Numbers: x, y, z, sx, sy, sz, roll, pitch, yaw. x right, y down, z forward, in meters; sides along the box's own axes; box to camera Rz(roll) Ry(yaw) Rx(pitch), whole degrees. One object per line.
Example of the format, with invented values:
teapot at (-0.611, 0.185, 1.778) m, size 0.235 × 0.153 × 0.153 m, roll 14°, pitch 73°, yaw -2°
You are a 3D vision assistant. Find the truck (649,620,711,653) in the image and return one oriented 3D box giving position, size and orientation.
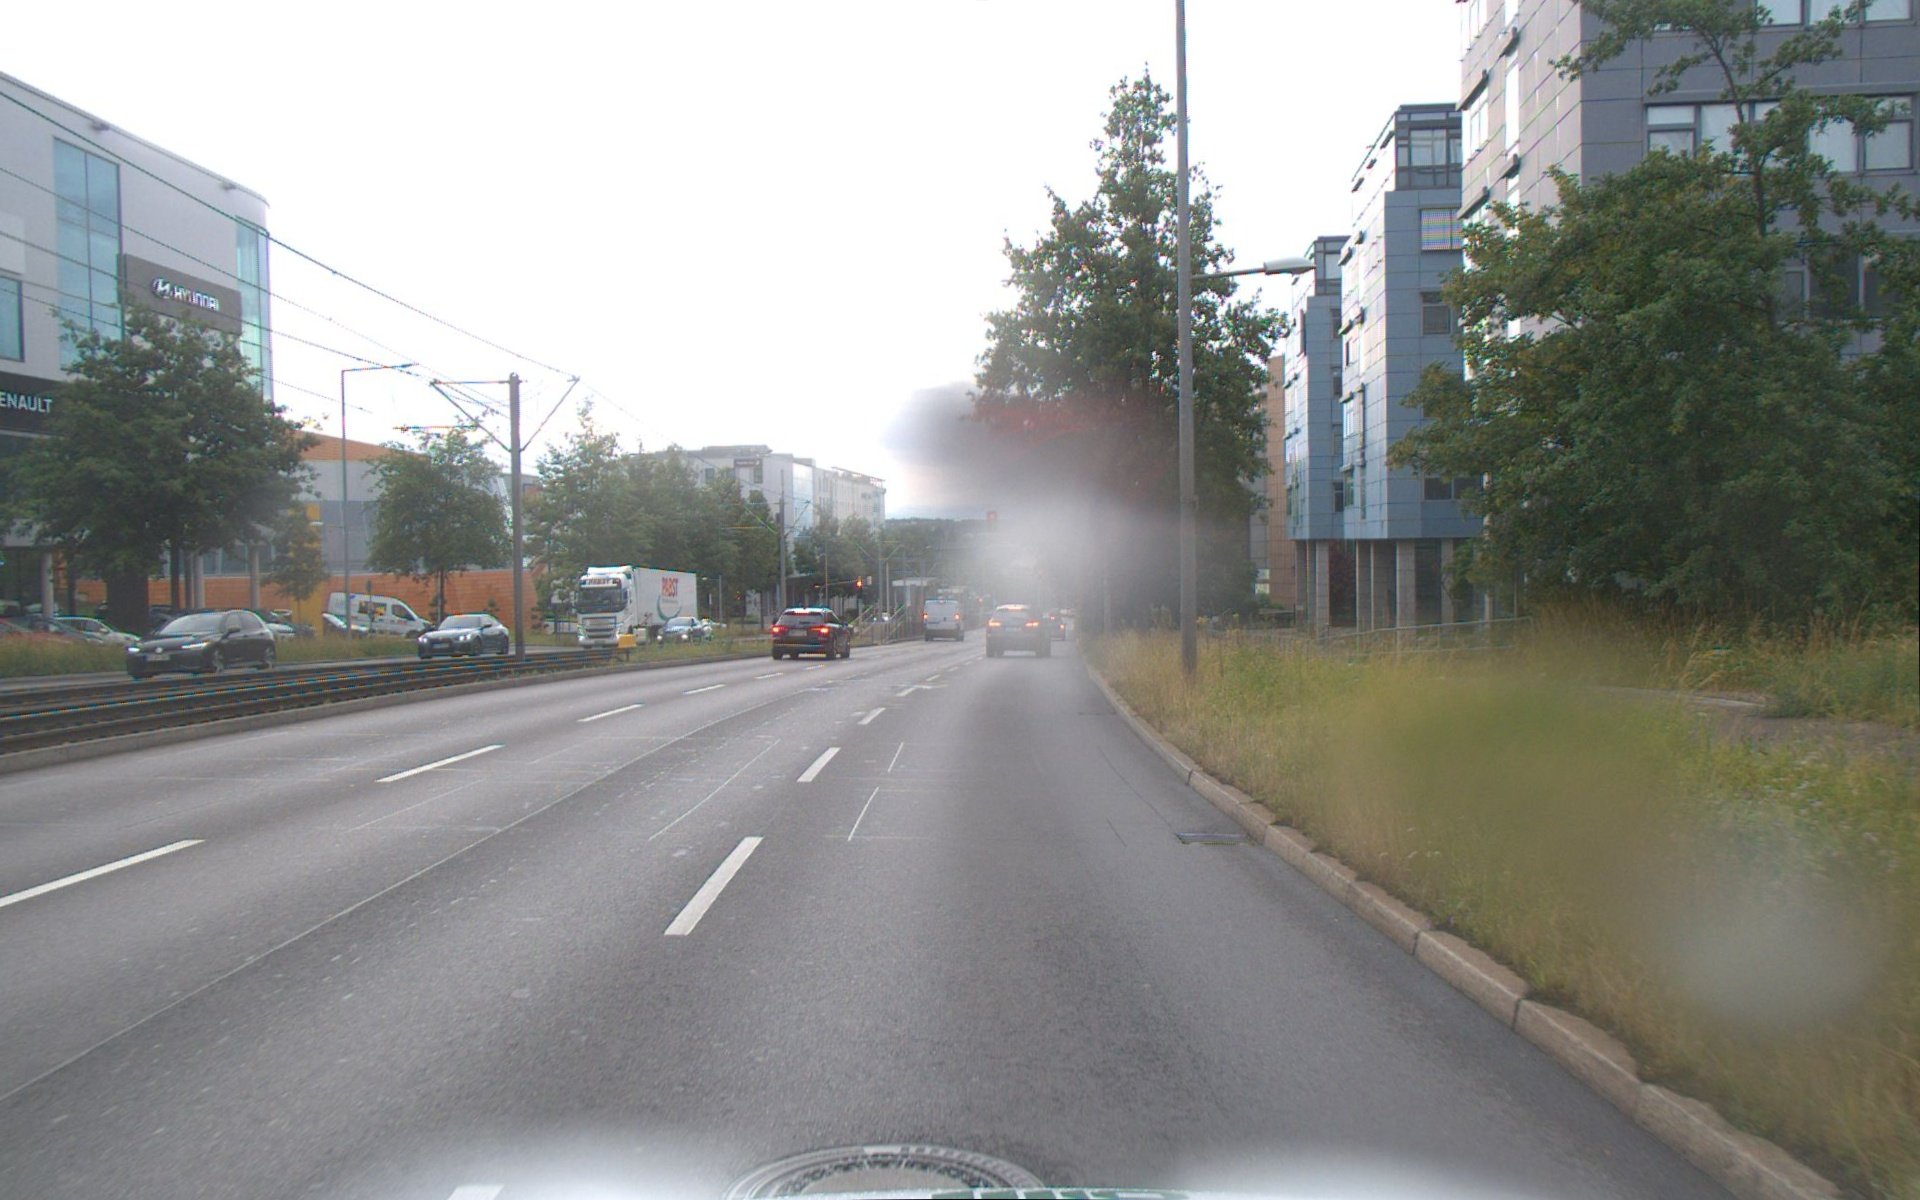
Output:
truck at (-14.366, 1.880, 85.102) m, size 1.901 × 1.595 × 4.547 m, roll -2°, pitch -1°, yaw 6°

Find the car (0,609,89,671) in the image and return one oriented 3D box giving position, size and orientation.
car at (-32.030, 1.357, 55.607) m, size 4.529 × 2.011 × 2.010 m, roll -1°, pitch -1°, yaw -18°

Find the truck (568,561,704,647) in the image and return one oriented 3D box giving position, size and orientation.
truck at (-17.262, 0.154, 89.979) m, size 2.978 × 4.254 × 17.210 m, roll 0°, pitch 0°, yaw 4°

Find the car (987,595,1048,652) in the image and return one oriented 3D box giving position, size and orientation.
car at (1.853, 0.729, 53.661) m, size 1.882 × 1.740 × 4.099 m, roll 1°, pitch 1°, yaw 2°

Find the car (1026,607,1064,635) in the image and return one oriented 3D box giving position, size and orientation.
car at (5.147, 1.260, 100.427) m, size 1.754 × 1.618 × 3.996 m, roll -2°, pitch 0°, yaw -5°

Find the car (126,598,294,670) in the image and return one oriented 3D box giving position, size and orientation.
car at (-16.352, 0.743, 36.298) m, size 1.633 × 1.487 × 4.239 m, roll 0°, pitch -1°, yaw 2°

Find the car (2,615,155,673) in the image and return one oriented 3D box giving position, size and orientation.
car at (-32.218, 1.586, 60.577) m, size 4.518 × 2.011 × 2.015 m, roll -1°, pitch -1°, yaw -10°

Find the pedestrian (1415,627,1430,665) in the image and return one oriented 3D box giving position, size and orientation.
pedestrian at (17.789, 1.764, 63.644) m, size 0.492 × 1.433 × 0.457 m, roll 0°, pitch -1°, yaw 4°

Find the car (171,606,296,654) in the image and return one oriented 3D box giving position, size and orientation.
car at (-31.513, 1.285, 71.812) m, size 4.510 × 2.011 × 2.019 m, roll -1°, pitch -1°, yaw -3°

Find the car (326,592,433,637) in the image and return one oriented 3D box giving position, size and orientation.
car at (-31.577, 0.790, 90.141) m, size 5.208 × 2.353 × 2.014 m, roll 1°, pitch -1°, yaw -11°

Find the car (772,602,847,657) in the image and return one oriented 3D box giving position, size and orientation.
car at (-4.289, 0.802, 47.703) m, size 1.749 × 1.438 × 4.806 m, roll 0°, pitch 1°, yaw 0°

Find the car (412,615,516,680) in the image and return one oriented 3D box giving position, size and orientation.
car at (-16.046, 1.522, 53.780) m, size 1.972 × 2.011 × 4.616 m, roll 0°, pitch -1°, yaw 0°

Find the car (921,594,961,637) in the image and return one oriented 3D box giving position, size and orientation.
car at (-1.114, 0.874, 94.933) m, size 2.222 × 2.324 × 4.758 m, roll 1°, pitch 1°, yaw -2°

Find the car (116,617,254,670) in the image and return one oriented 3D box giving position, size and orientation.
car at (-30.860, 1.709, 65.971) m, size 4.510 × 2.011 × 2.019 m, roll -1°, pitch -1°, yaw -3°
